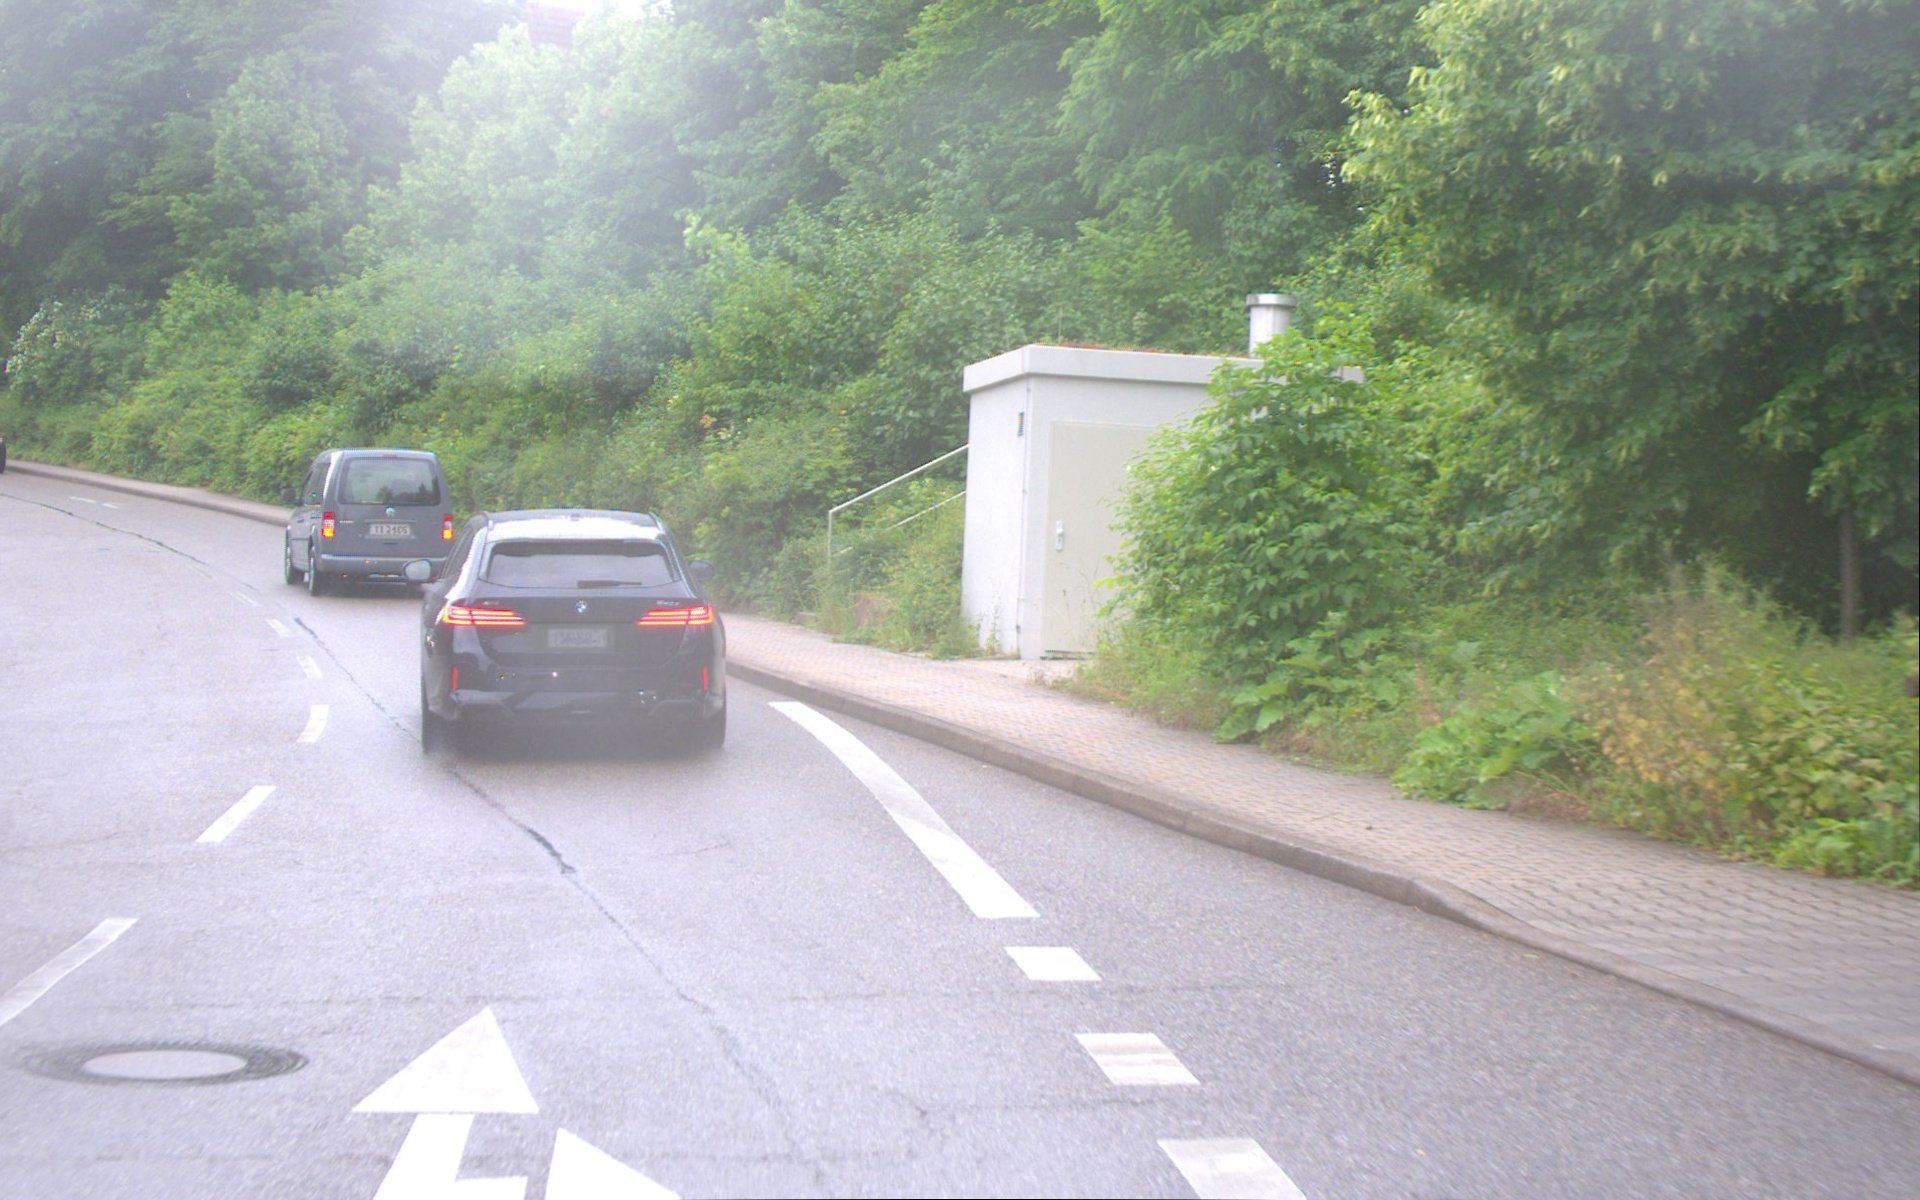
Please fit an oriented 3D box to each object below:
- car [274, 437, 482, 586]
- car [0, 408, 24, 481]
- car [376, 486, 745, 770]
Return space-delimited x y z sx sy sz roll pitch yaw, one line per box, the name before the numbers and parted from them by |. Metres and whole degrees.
car | -7.379 -1.123 43.301 1.993 1.742 4.002 1 2 -18
car | -23.692 -3.681 81.404 1.851 1.656 4.000 2 0 -31
car | -2.720 0.098 22.416 1.993 1.580 4.665 2 1 -11
